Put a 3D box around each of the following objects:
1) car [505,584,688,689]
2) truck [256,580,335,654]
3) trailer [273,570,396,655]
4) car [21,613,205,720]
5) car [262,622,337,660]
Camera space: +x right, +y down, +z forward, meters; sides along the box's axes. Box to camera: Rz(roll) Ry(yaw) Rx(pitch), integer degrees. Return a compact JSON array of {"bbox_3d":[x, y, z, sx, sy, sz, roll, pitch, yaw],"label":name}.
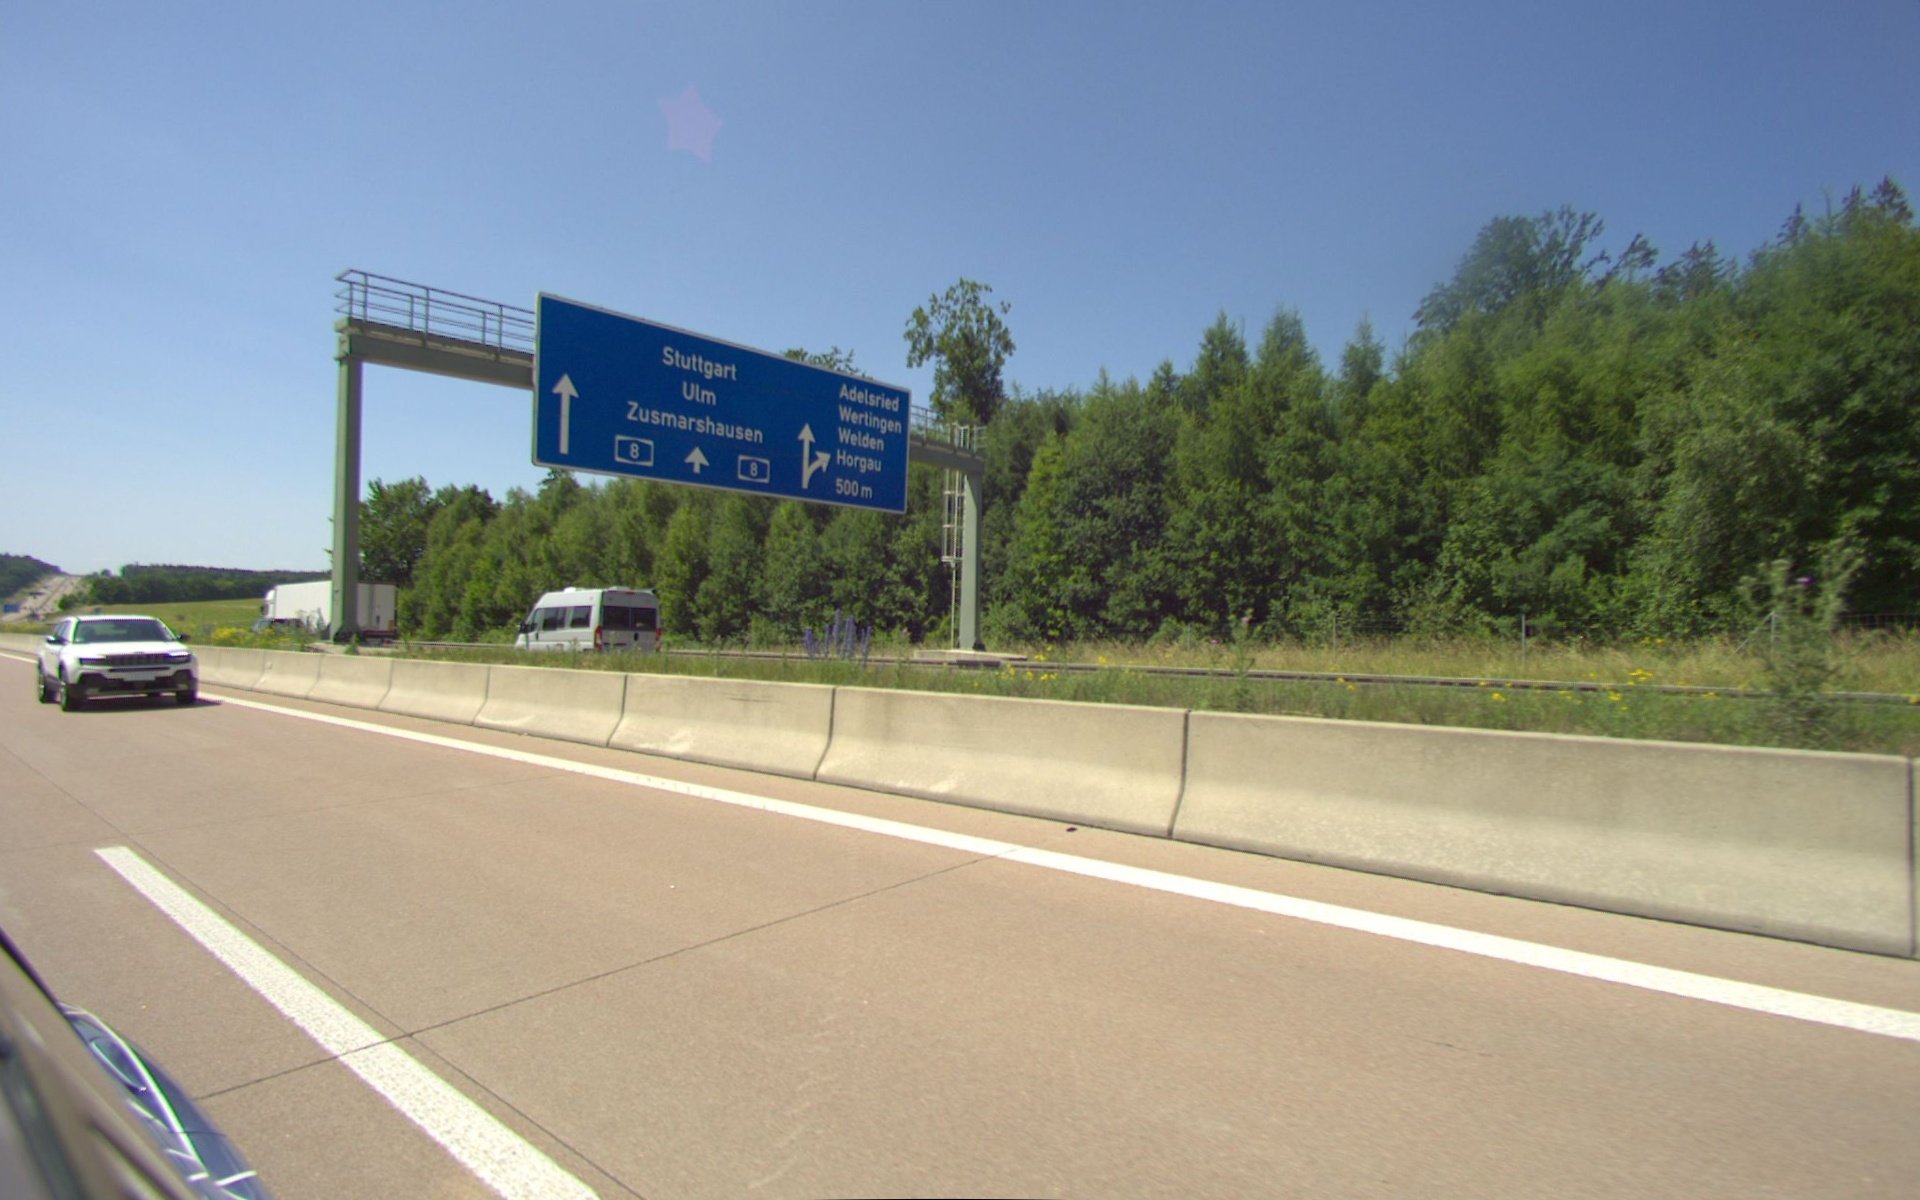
[{"bbox_3d":[-10.484,1.001,28.894,6.094,2.706,2.210,-2,-1,41],"label":"car"},{"bbox_3d":[-41.801,1.116,63.584,6.477,4.414,2.674,-2,-2,43],"label":"truck"},{"bbox_3d":[-36.510,0.811,58.722,13.191,4.468,2.674,-2,-1,43],"label":"trailer"},{"bbox_3d":[-14.968,1.074,17.781,4.833,1.619,1.859,-1,-1,42],"label":"car"},{"bbox_3d":[-30.691,1.896,46.991,3.997,1.667,1.871,-2,-1,41],"label":"car"}]
